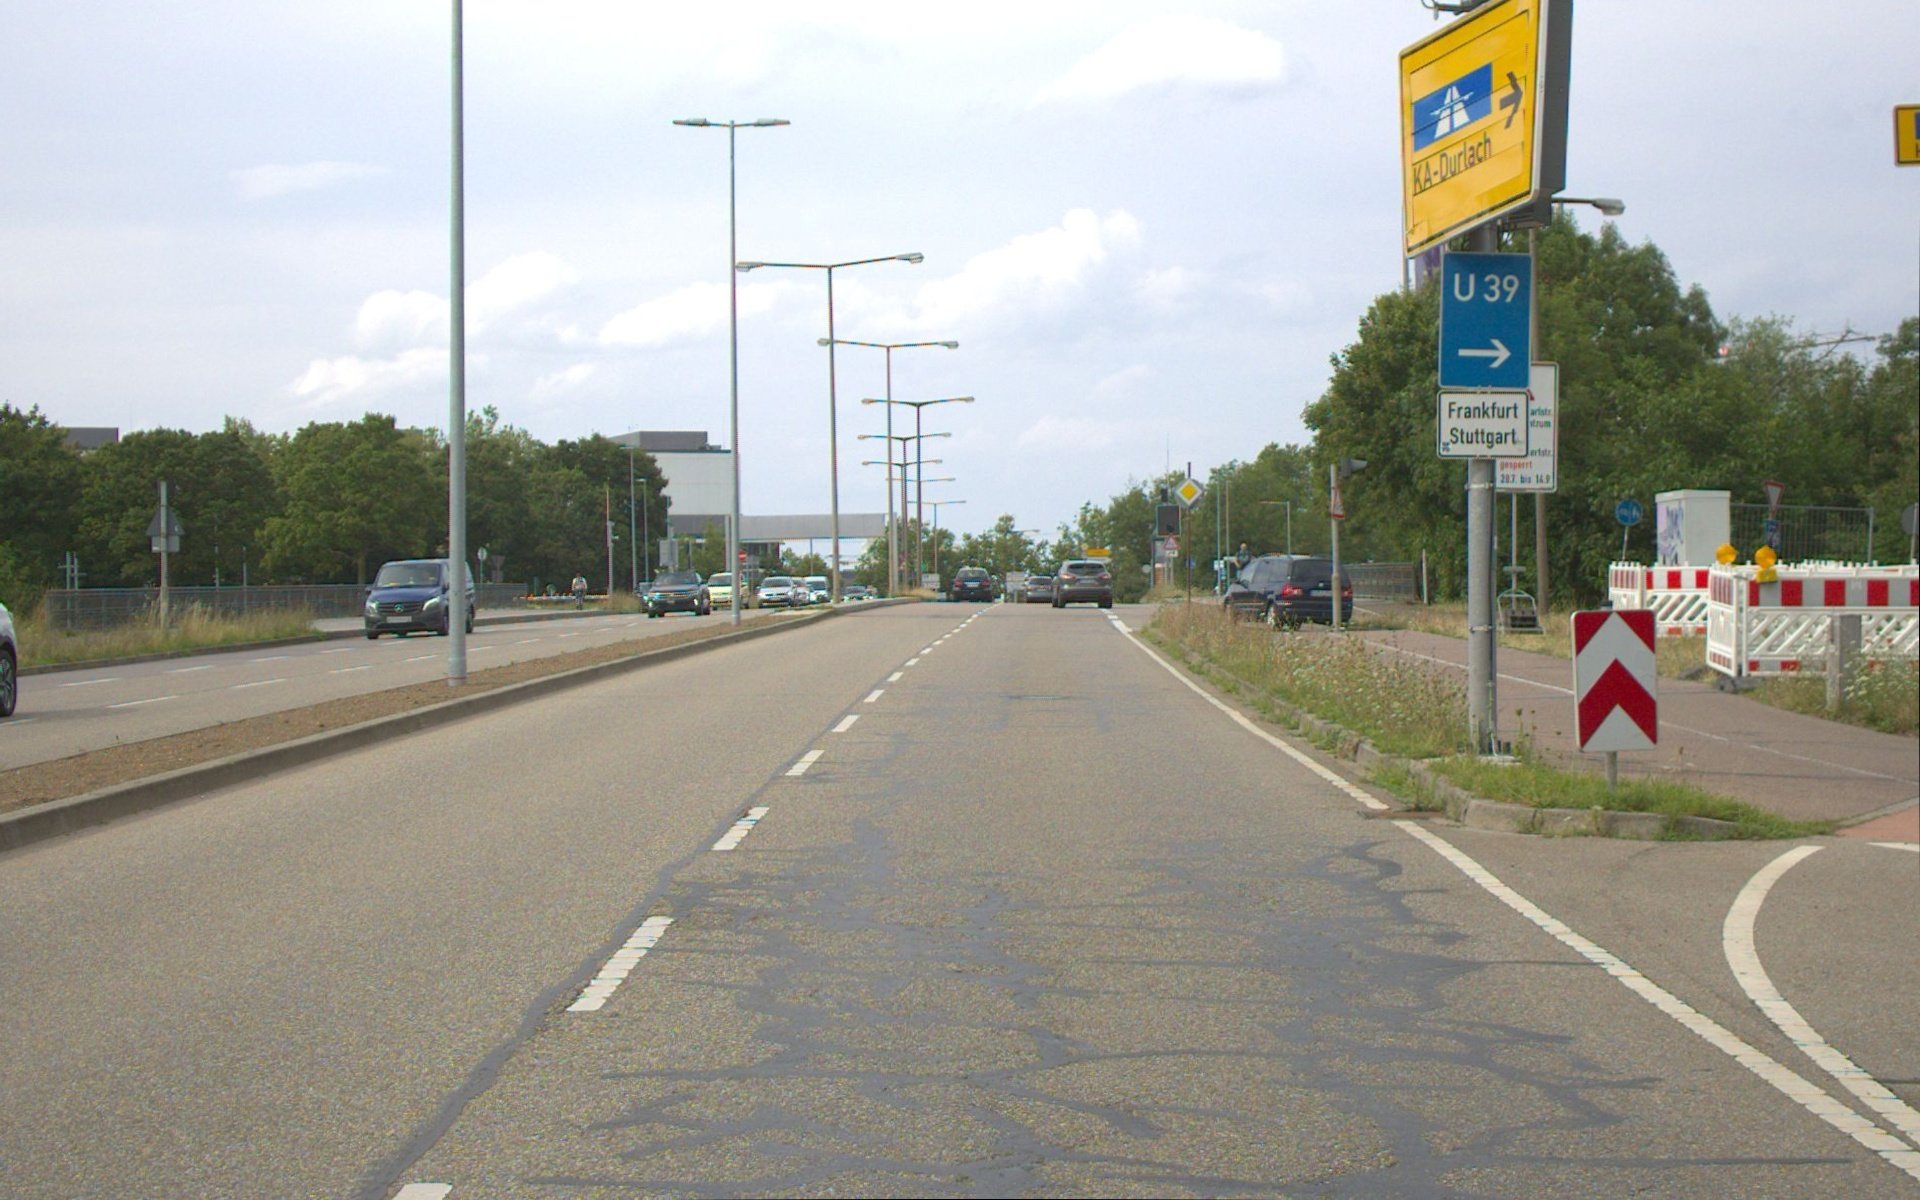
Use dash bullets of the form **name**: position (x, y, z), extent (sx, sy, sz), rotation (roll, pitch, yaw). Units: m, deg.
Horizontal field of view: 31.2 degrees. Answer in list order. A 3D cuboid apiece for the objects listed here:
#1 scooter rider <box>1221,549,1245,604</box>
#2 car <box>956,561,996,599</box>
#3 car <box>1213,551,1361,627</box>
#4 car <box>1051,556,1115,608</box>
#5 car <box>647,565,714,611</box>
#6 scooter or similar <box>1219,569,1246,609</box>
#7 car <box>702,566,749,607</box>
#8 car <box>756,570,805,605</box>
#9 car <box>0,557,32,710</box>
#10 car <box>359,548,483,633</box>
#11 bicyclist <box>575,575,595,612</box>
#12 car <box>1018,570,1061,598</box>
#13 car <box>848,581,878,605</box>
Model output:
- **scooter rider**: position (8.367, -0.710, 105.270), extent (0.587, 1.685, 0.744), rotation (1, 0, -7)
- **car**: position (0.737, -0.908, 158.472), extent (1.730, 1.647, 4.114), rotation (0, -1, 2)
- **car**: position (7.360, -0.232, 77.768), extent (1.730, 1.647, 4.116), rotation (1, -1, -20)
- **car**: position (4.093, -0.585, 114.740), extent (1.730, 1.647, 4.115), rotation (0, -1, -3)
- **car**: position (-9.254, -0.406, 114.204), extent (1.763, 1.436, 4.177), rotation (-2, 1, 1)
- **scooter or similar**: position (8.354, -0.342, 105.273), extent (0.588, 1.220, 1.203), rotation (1, 0, -7)
- **car**: position (-9.646, -0.564, 141.471), extent (1.549, 1.572, 3.690), rotation (-2, 1, 1)
- **car**: position (-8.194, -0.586, 157.007), extent (1.650, 1.510, 4.015), rotation (-2, 1, 5)
- **car**: position (-11.030, 0.411, 35.089), extent (1.847, 1.595, 4.561), rotation (-1, 2, 0)
- **car**: position (-13.037, -0.257, 83.462), extent (1.847, 1.887, 5.504), rotation (-3, 0, 2)
- **bicyclist**: position (-16.634, -0.296, 152.548), extent (0.795, 1.621, 0.976), rotation (1, 0, -1)
- **car**: position (4.473, -0.882, 193.863), extent (1.730, 1.521, 4.116), rotation (1, 0, -8)
- **car**: position (-6.589, -0.471, 234.505), extent (1.738, 1.476, 4.775), rotation (-2, -1, 1)
